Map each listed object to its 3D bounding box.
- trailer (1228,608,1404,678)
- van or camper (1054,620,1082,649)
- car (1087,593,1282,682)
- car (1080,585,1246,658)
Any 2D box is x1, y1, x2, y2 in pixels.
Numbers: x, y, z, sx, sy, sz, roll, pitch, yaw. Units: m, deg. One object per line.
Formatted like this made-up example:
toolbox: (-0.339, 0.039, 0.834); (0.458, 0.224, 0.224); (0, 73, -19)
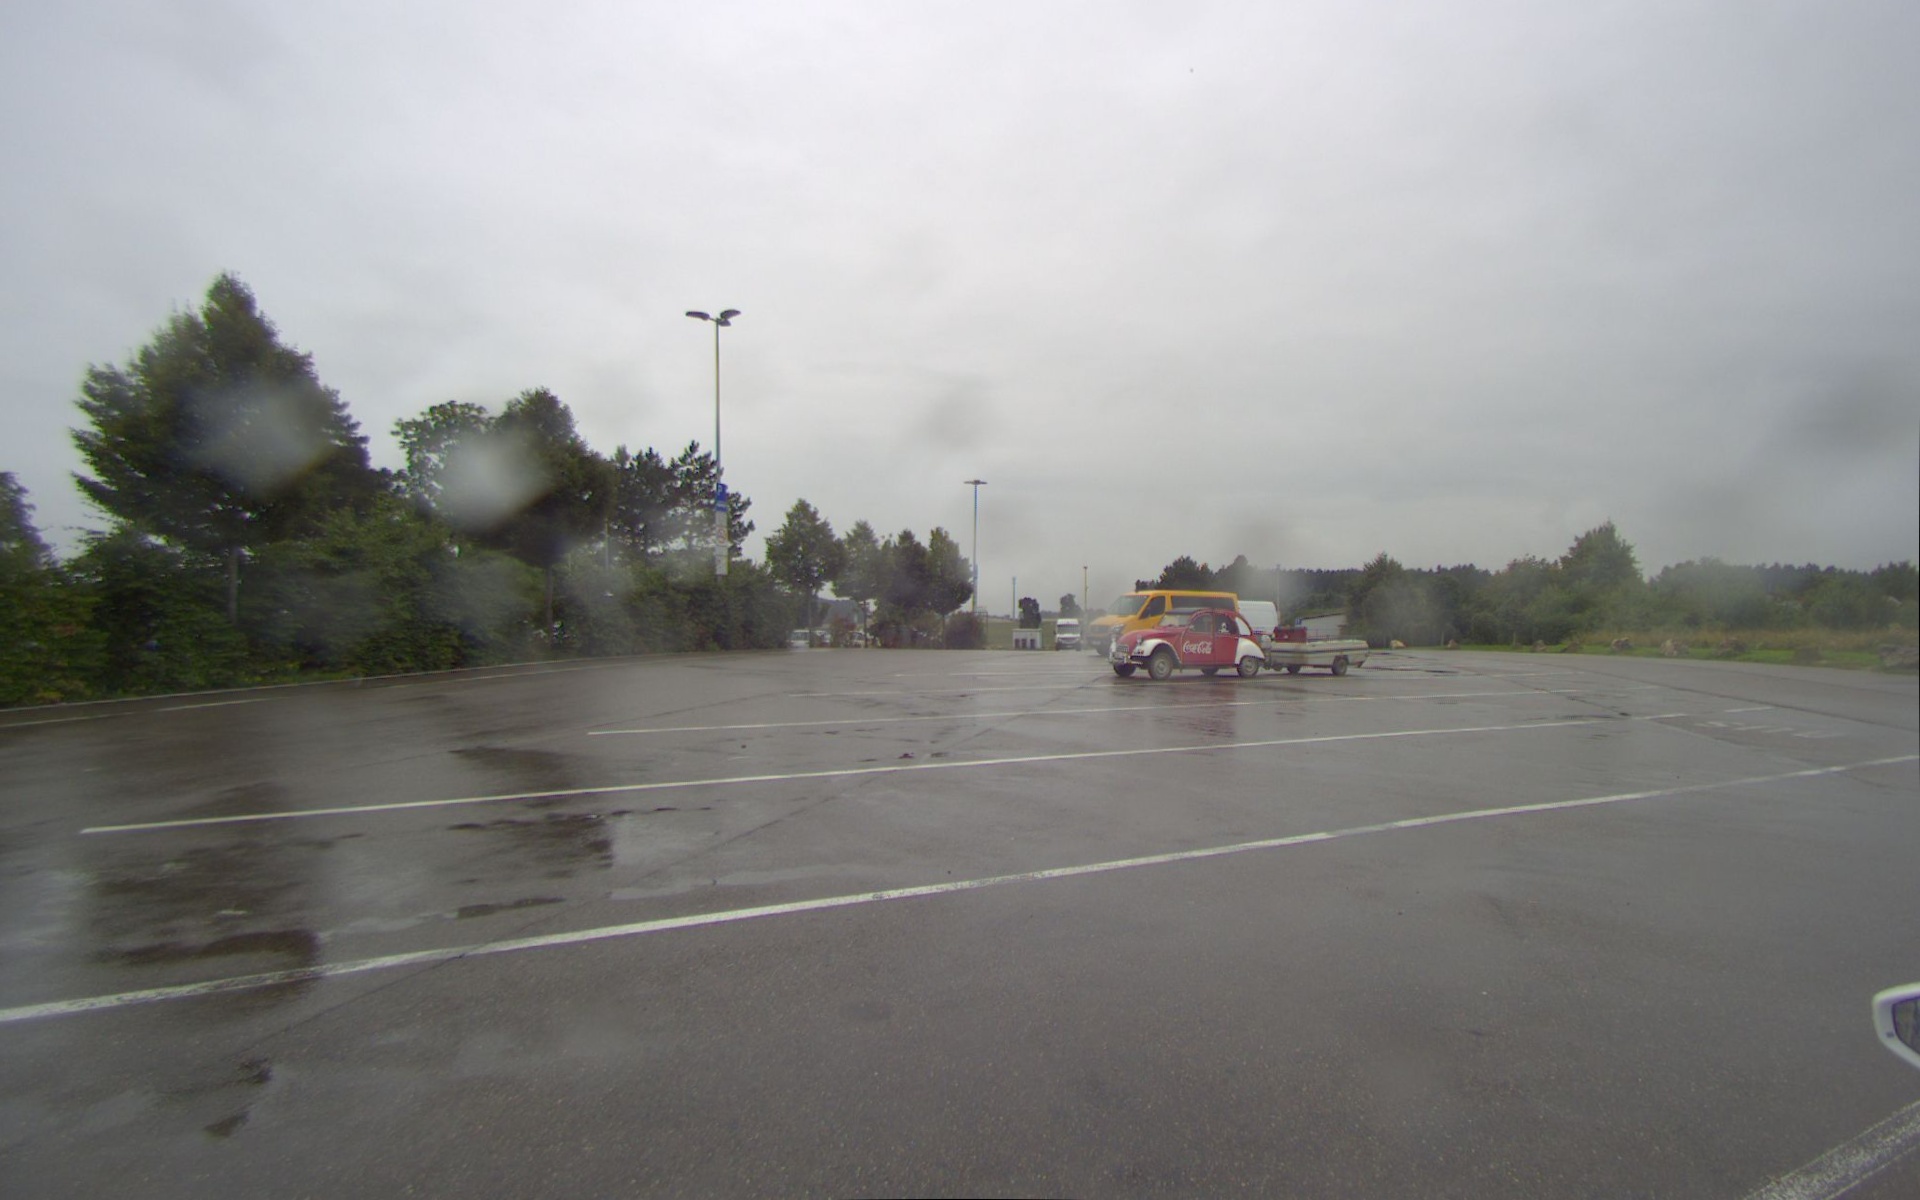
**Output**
trailer: (8.444, 0.980, 23.798); (3.948, 1.553, 1.689); (0, -2, -27)
van or camper: (8.375, 2.687, 78.430); (1.960, 2.195, 4.002); (0, -2, 3)
car: (4.919, 0.813, 21.994); (3.948, 1.800, 1.816); (1, -2, -27)
car: (7.207, 0.825, 35.490); (5.955, 2.411, 1.985); (2, -3, -30)
